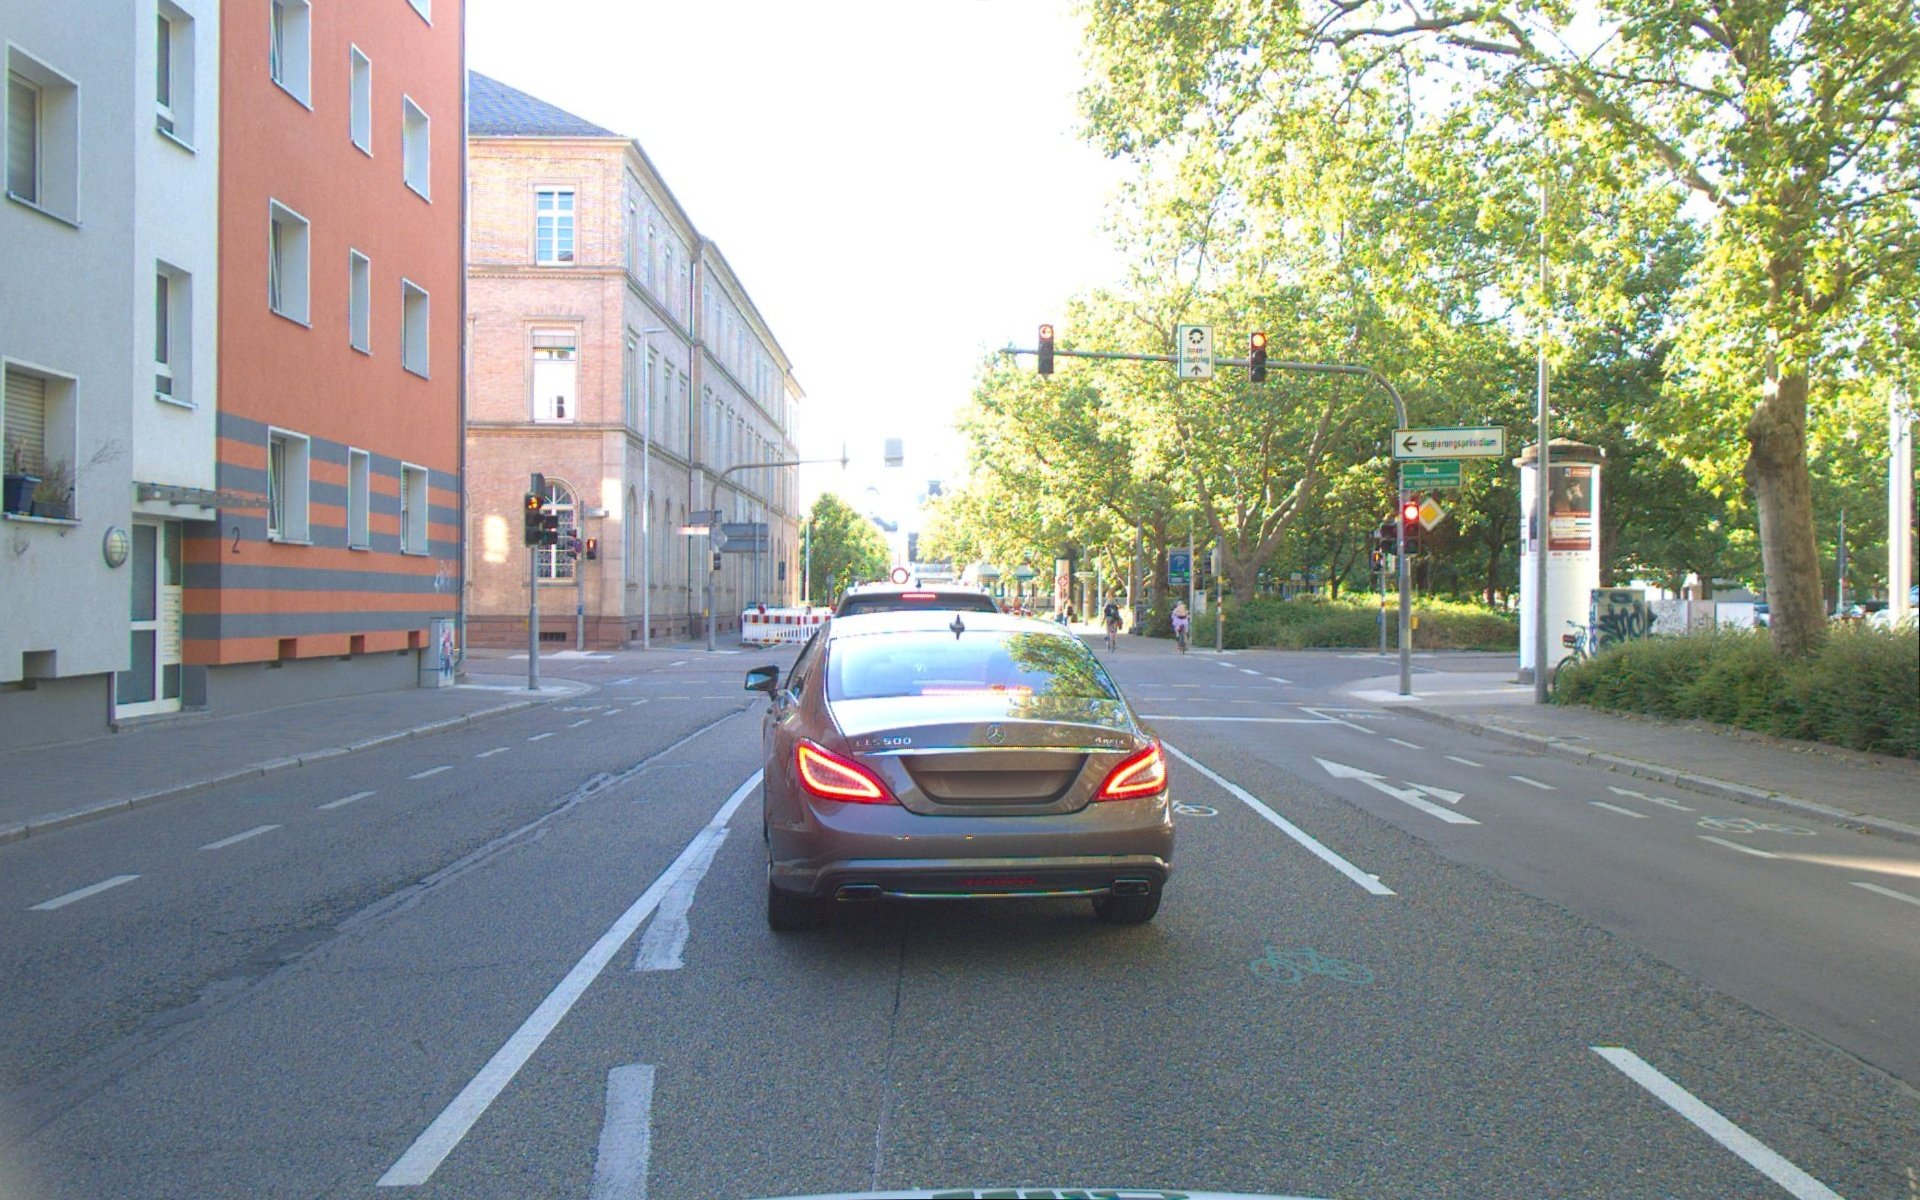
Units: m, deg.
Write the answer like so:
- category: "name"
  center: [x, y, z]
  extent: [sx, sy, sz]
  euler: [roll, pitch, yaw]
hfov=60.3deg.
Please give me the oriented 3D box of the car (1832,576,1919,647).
- category: "car"
  center: [25.428, 0.309, 43.548]
  extent: [3.912, 1.815, 2.001]
  euler: [0, 0, 4]

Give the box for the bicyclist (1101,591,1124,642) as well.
- category: "bicyclist"
  center: [4.739, 0.505, 51.425]
  extent: [0.598, 1.542, 0.889]
  euler: [2, 0, -1]

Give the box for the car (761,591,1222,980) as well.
- category: "car"
  center: [-0.115, 0.722, 8.675]
  extent: [1.787, 1.502, 4.346]
  euler: [0, 0, -8]

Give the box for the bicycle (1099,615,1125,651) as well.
- category: "bicycle"
  center: [4.721, 1.019, 51.544]
  extent: [0.598, 1.044, 1.731]
  euler: [2, 0, -1]

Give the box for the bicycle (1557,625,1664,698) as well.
- category: "bicycle"
  center: [9.696, 0.911, 24.676]
  extent: [1.387, 1.055, 0.538]
  euler: [0, 0, -5]

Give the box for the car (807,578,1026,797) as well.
- category: "car"
  center: [-0.397, 0.663, 14.437]
  extent: [1.647, 1.653, 3.839]
  euler: [0, 0, -2]

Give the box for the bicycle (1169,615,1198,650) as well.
- category: "bicycle"
  center: [6.939, 0.998, 51.321]
  extent: [0.588, 1.002, 1.881]
  euler: [2, 0, -1]

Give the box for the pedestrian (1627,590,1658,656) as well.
- category: "pedestrian"
  center: [18.804, 0.629, 45.557]
  extent: [0.607, 1.815, 0.630]
  euler: [0, 0, 1]

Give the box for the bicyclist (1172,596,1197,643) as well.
- category: "bicyclist"
  center: [6.946, 0.589, 51.296]
  extent: [0.588, 1.426, 0.931]
  euler: [2, 0, -1]

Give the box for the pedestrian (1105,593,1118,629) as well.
- category: "pedestrian"
  center: [7.187, 0.509, 78.567]
  extent: [0.548, 1.707, 0.564]
  euler: [0, 0, -1]
